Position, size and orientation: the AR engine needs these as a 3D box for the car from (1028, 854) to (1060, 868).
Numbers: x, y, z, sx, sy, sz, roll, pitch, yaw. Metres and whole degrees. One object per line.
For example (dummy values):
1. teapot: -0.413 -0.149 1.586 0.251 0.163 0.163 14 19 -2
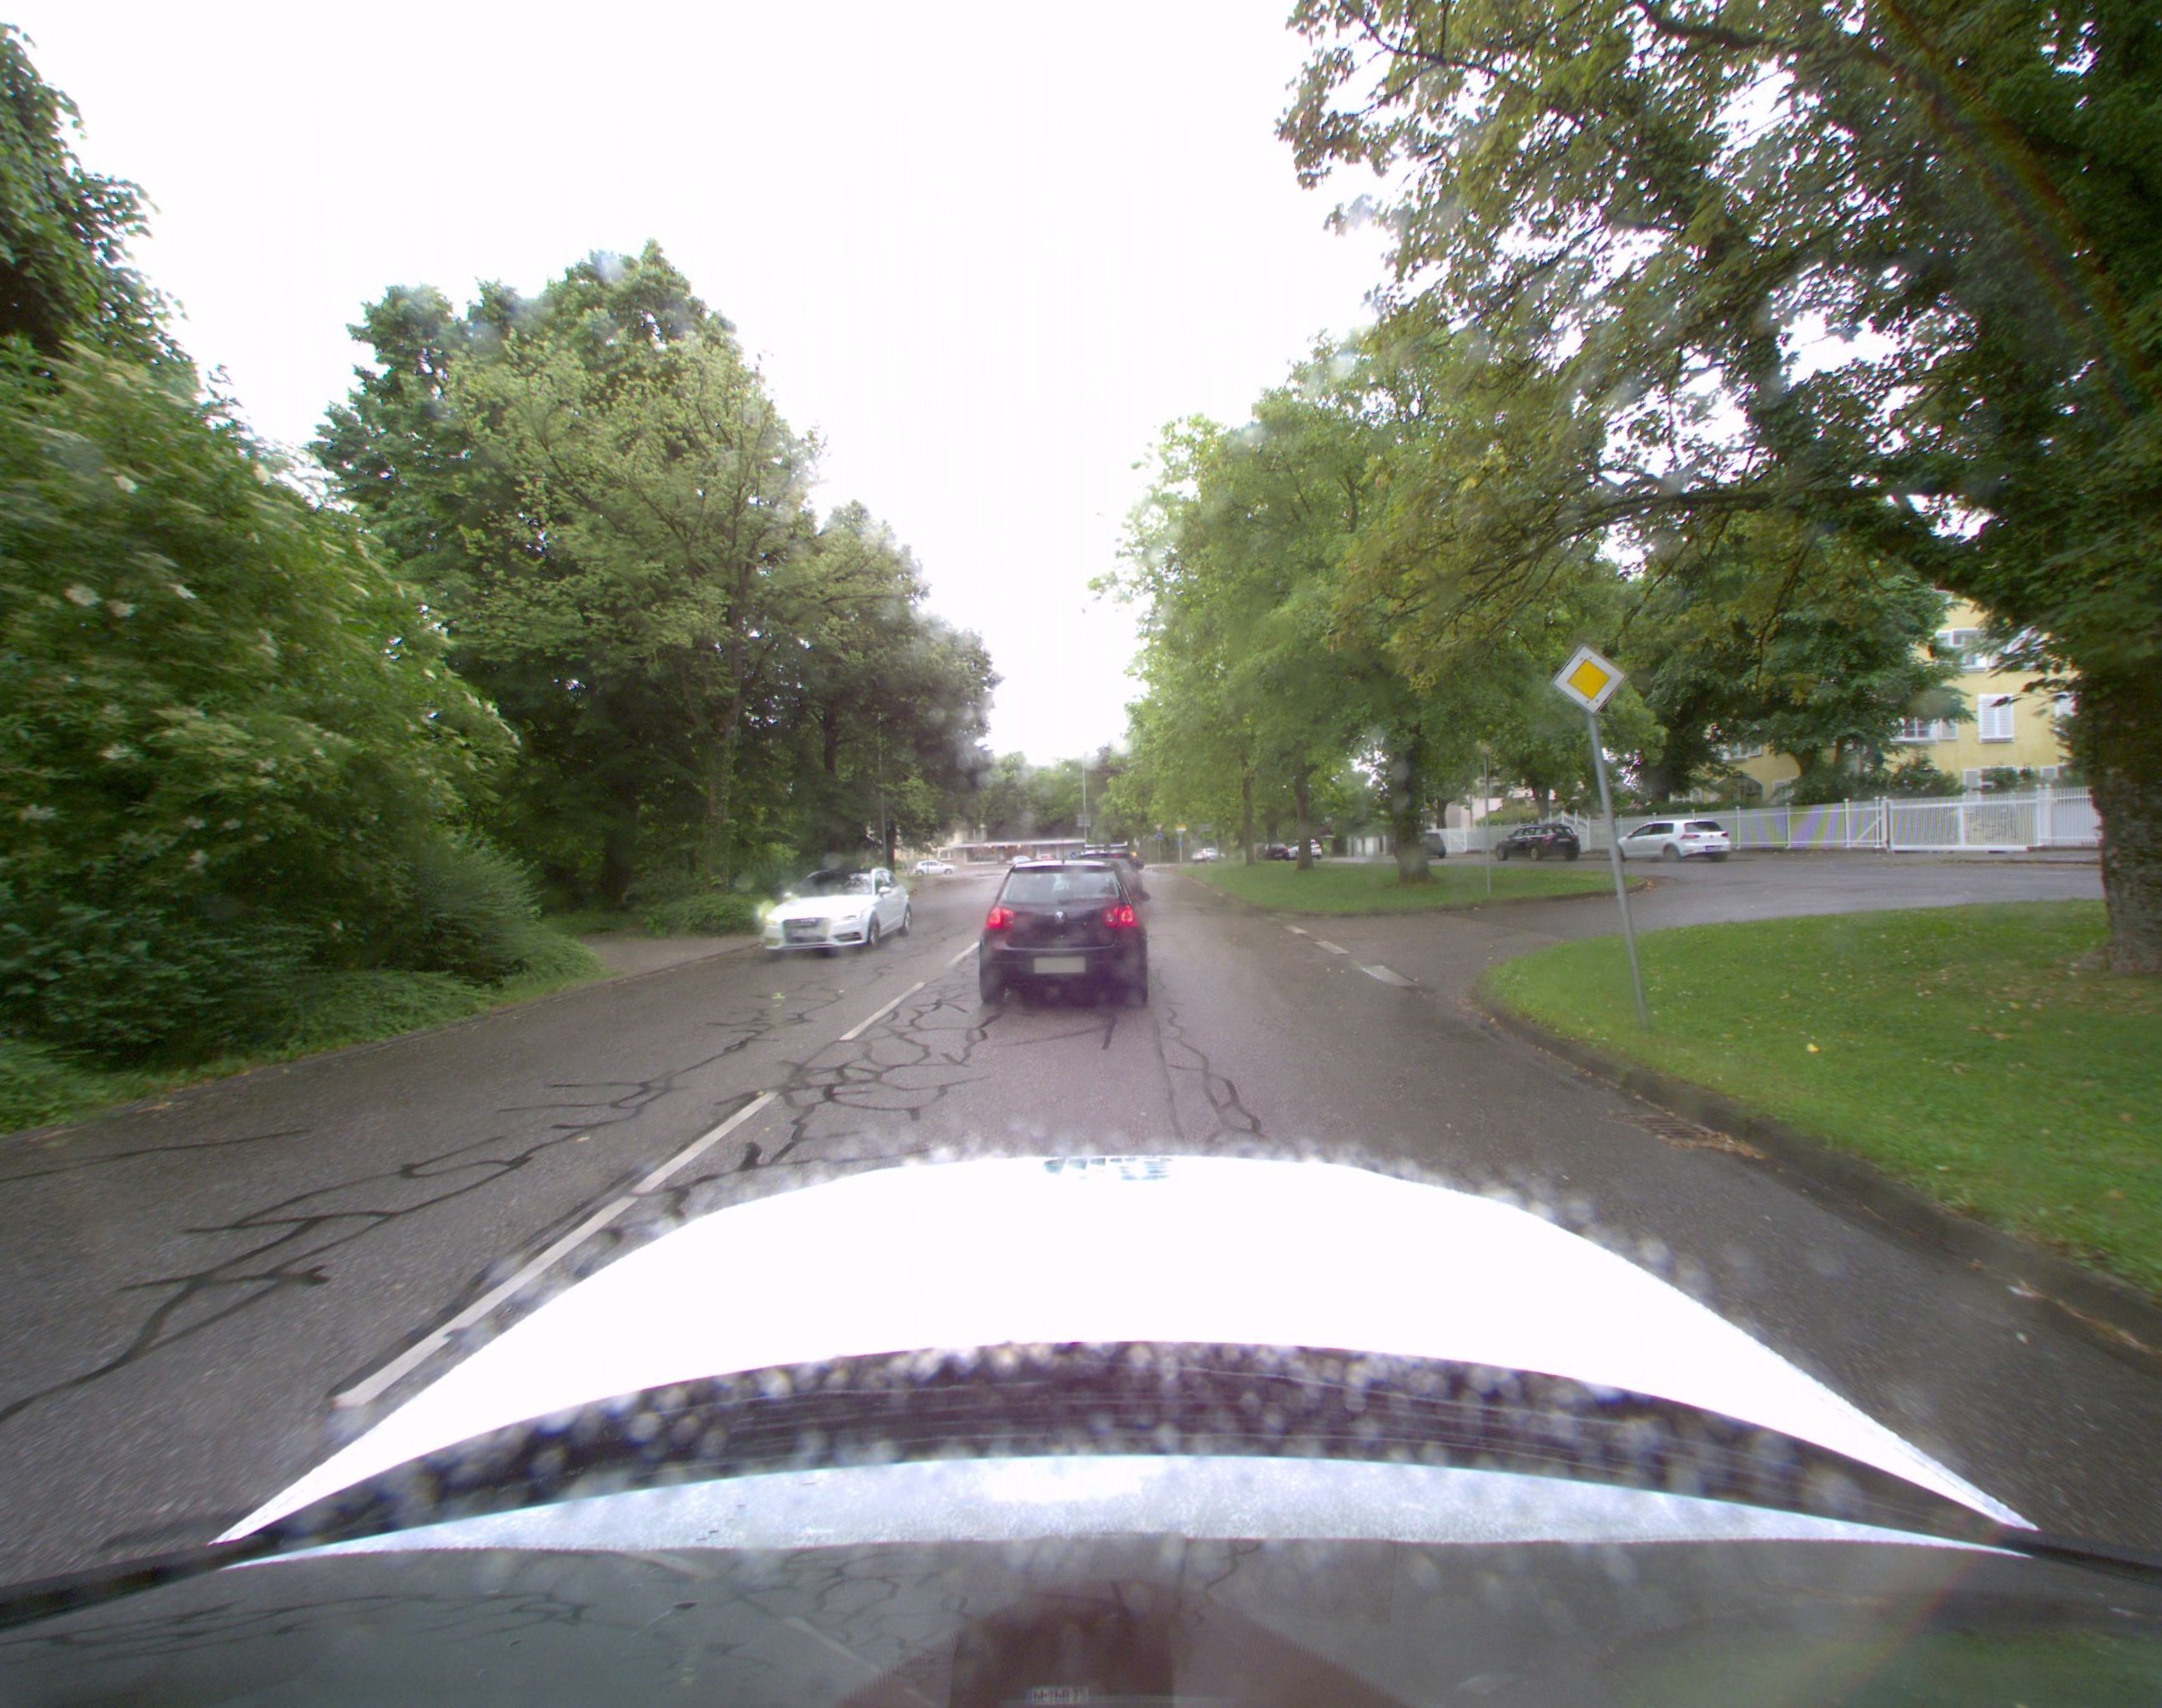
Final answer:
1. car: -4.593 0.872 100.966 3.626 1.513 1.722 -3 -1 30

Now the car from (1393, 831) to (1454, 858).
1. car: 19.956 -0.571 47.654 1.796 1.411 4.112 -3 1 0

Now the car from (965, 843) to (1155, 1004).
1. car: -0.109 0.681 9.645 1.791 1.515 3.756 -1 0 3

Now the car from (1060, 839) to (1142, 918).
1. car: 0.562 0.570 20.828 1.848 1.784 4.003 -2 0 3

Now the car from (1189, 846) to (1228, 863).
1. car: 14.100 0.074 90.076 4.021 1.706 1.976 -3 -1 -40

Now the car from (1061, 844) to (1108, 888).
1. car: 0.226 0.533 36.199 1.848 1.785 4.003 -2 -1 3

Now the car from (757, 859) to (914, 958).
1. car: -4.287 0.874 14.888 1.603 1.427 4.008 -3 1 0

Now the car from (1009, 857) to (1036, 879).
1. car: -4.161 0.984 58.324 1.793 1.393 3.974 -4 0 -3

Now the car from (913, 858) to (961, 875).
1. car: -13.961 1.244 79.044 4.493 1.419 1.842 -3 0 -9

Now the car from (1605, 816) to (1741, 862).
1. car: 20.252 -0.504 28.084 1.612 1.409 4.006 -3 1 -3

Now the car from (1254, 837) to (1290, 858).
1. car: 14.118 -0.468 60.450 1.796 1.385 4.003 -4 0 2

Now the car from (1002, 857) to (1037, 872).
1. car: -5.849 0.979 77.655 3.108 1.310 1.541 -3 0 1

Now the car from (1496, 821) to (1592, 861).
1. car: 20.035 -0.547 35.461 1.796 1.529 4.112 -3 1 0

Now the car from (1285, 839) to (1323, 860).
1. car: 16.558 -0.344 60.696 1.796 1.406 4.003 -4 0 2
